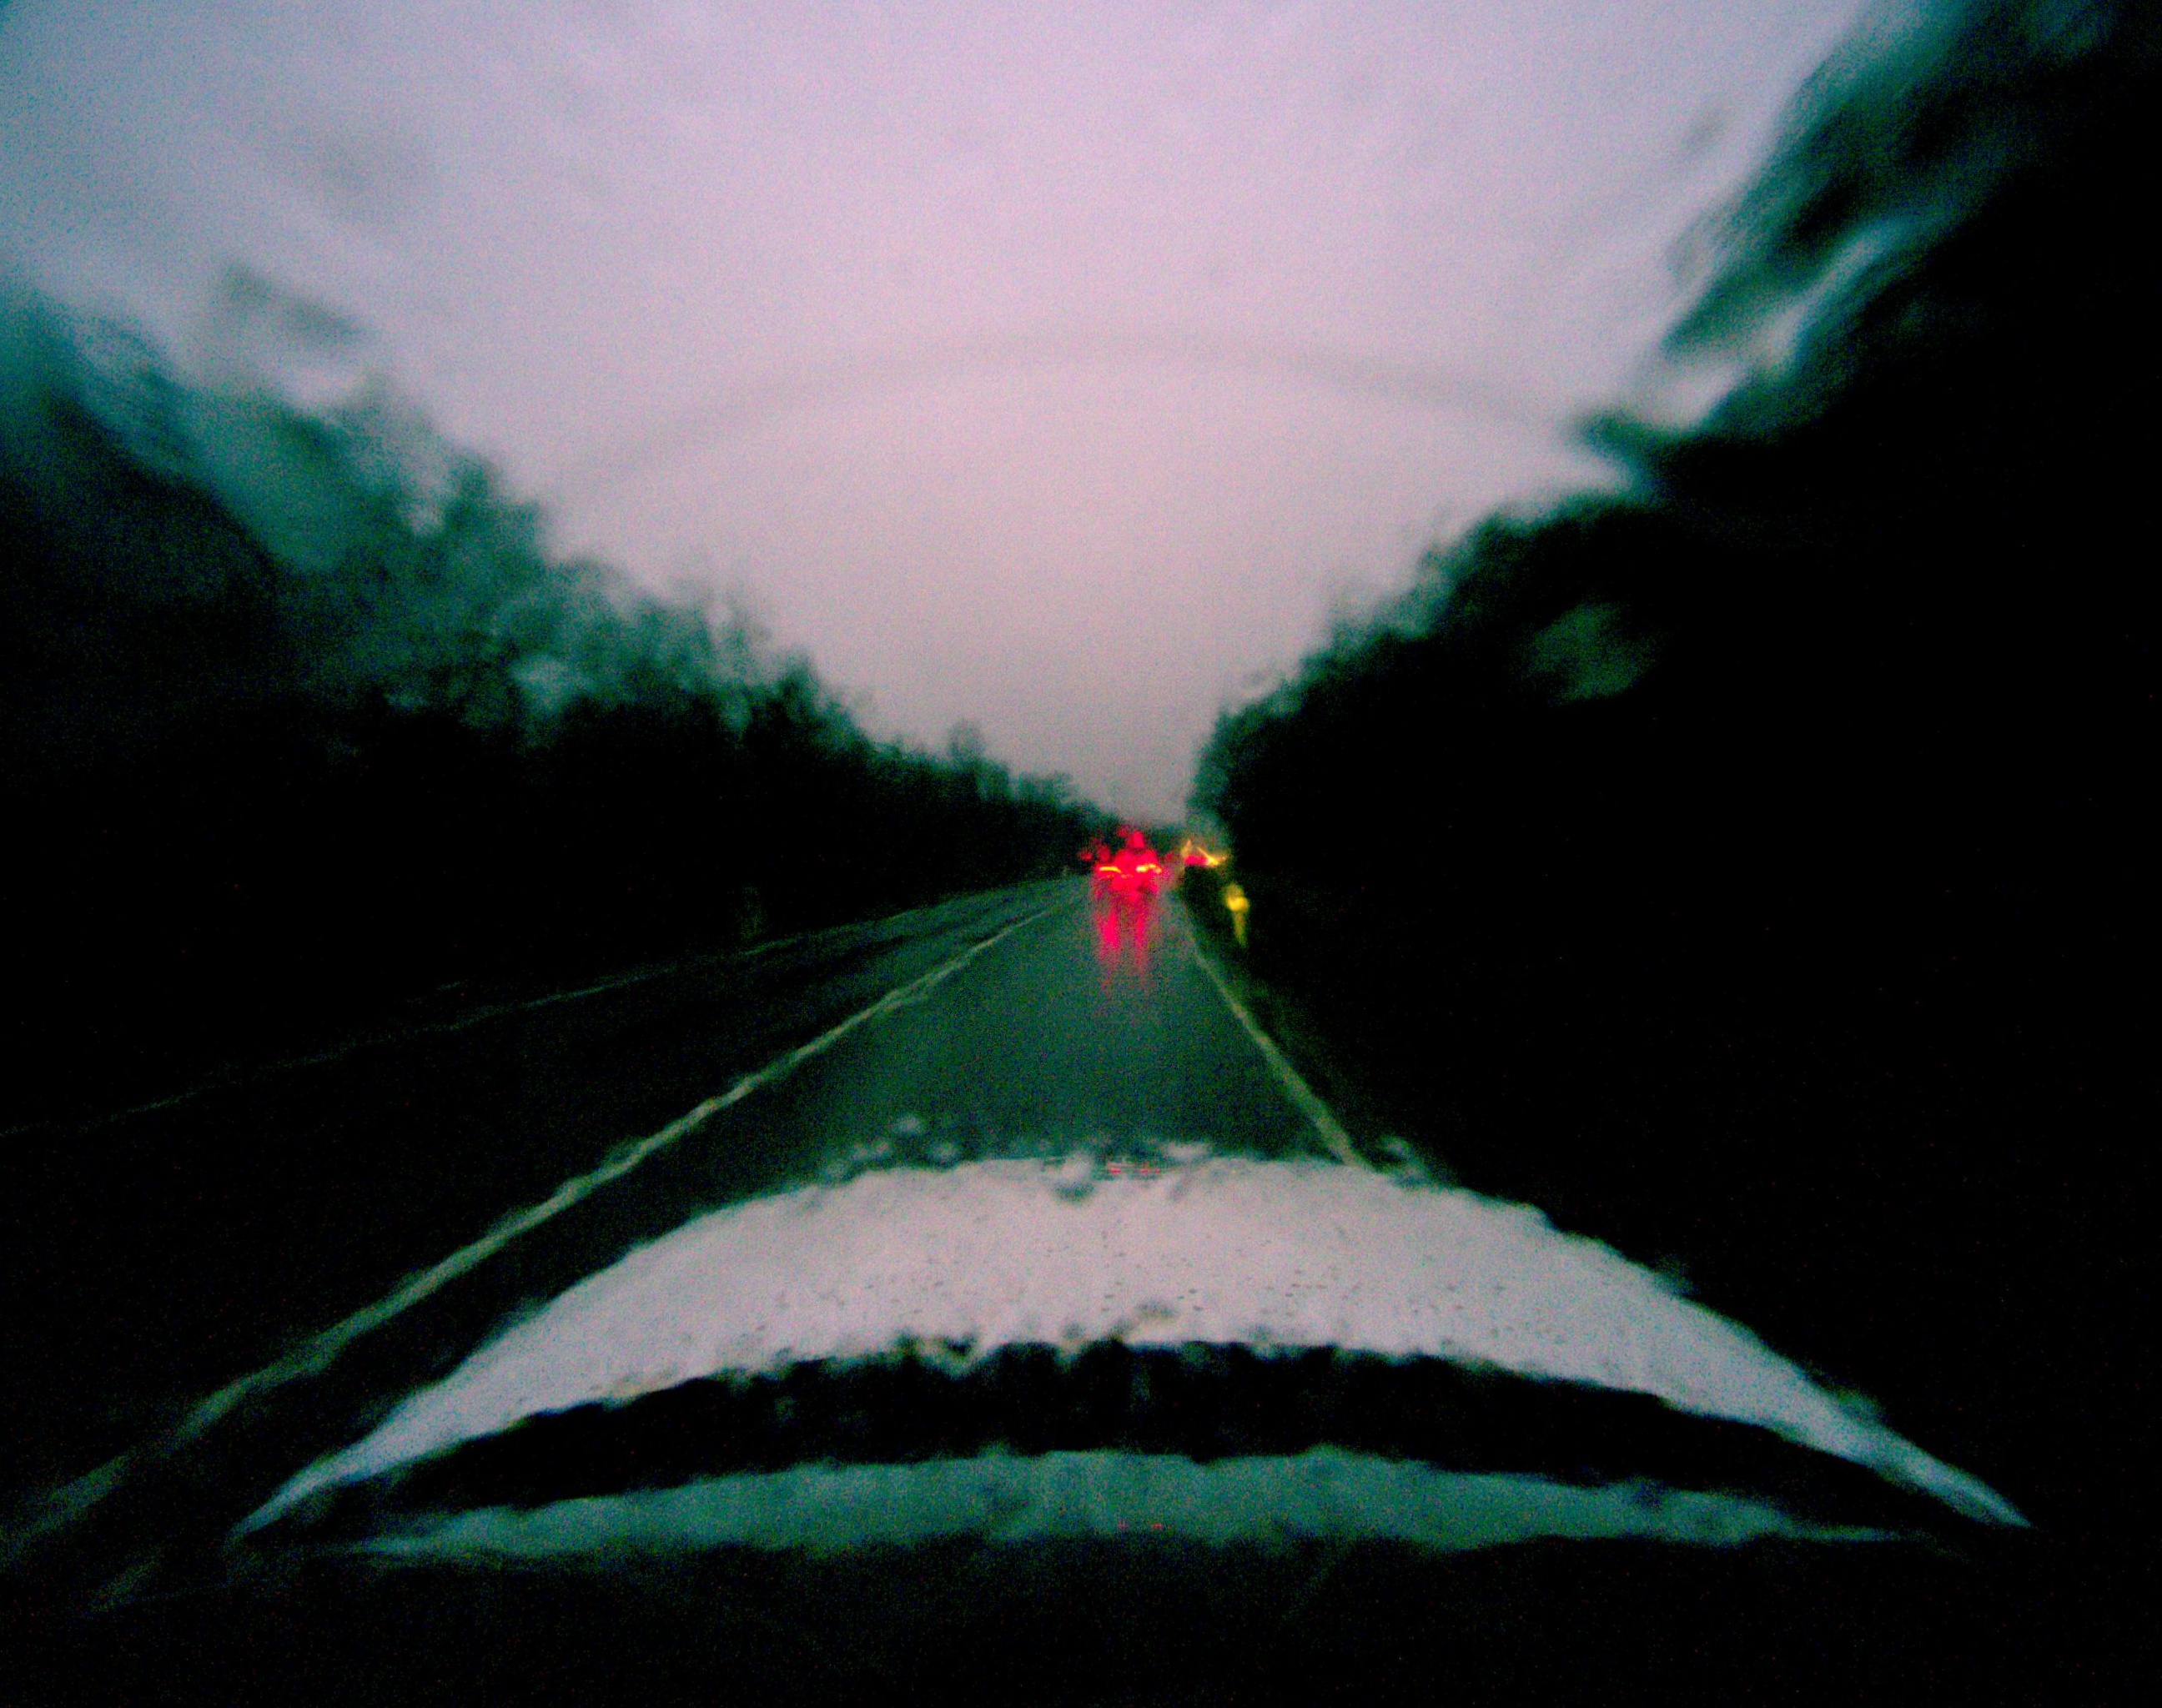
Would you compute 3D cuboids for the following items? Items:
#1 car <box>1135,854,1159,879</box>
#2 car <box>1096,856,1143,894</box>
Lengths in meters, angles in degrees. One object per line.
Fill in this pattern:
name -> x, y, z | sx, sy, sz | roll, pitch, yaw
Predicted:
car -> 4.712, 0.876, 58.373 | 1.671, 1.675, 4.102 | -1, -1, 4
car -> 1.608, 0.818, 32.770 | 1.670, 1.389, 4.104 | -1, -1, 5
